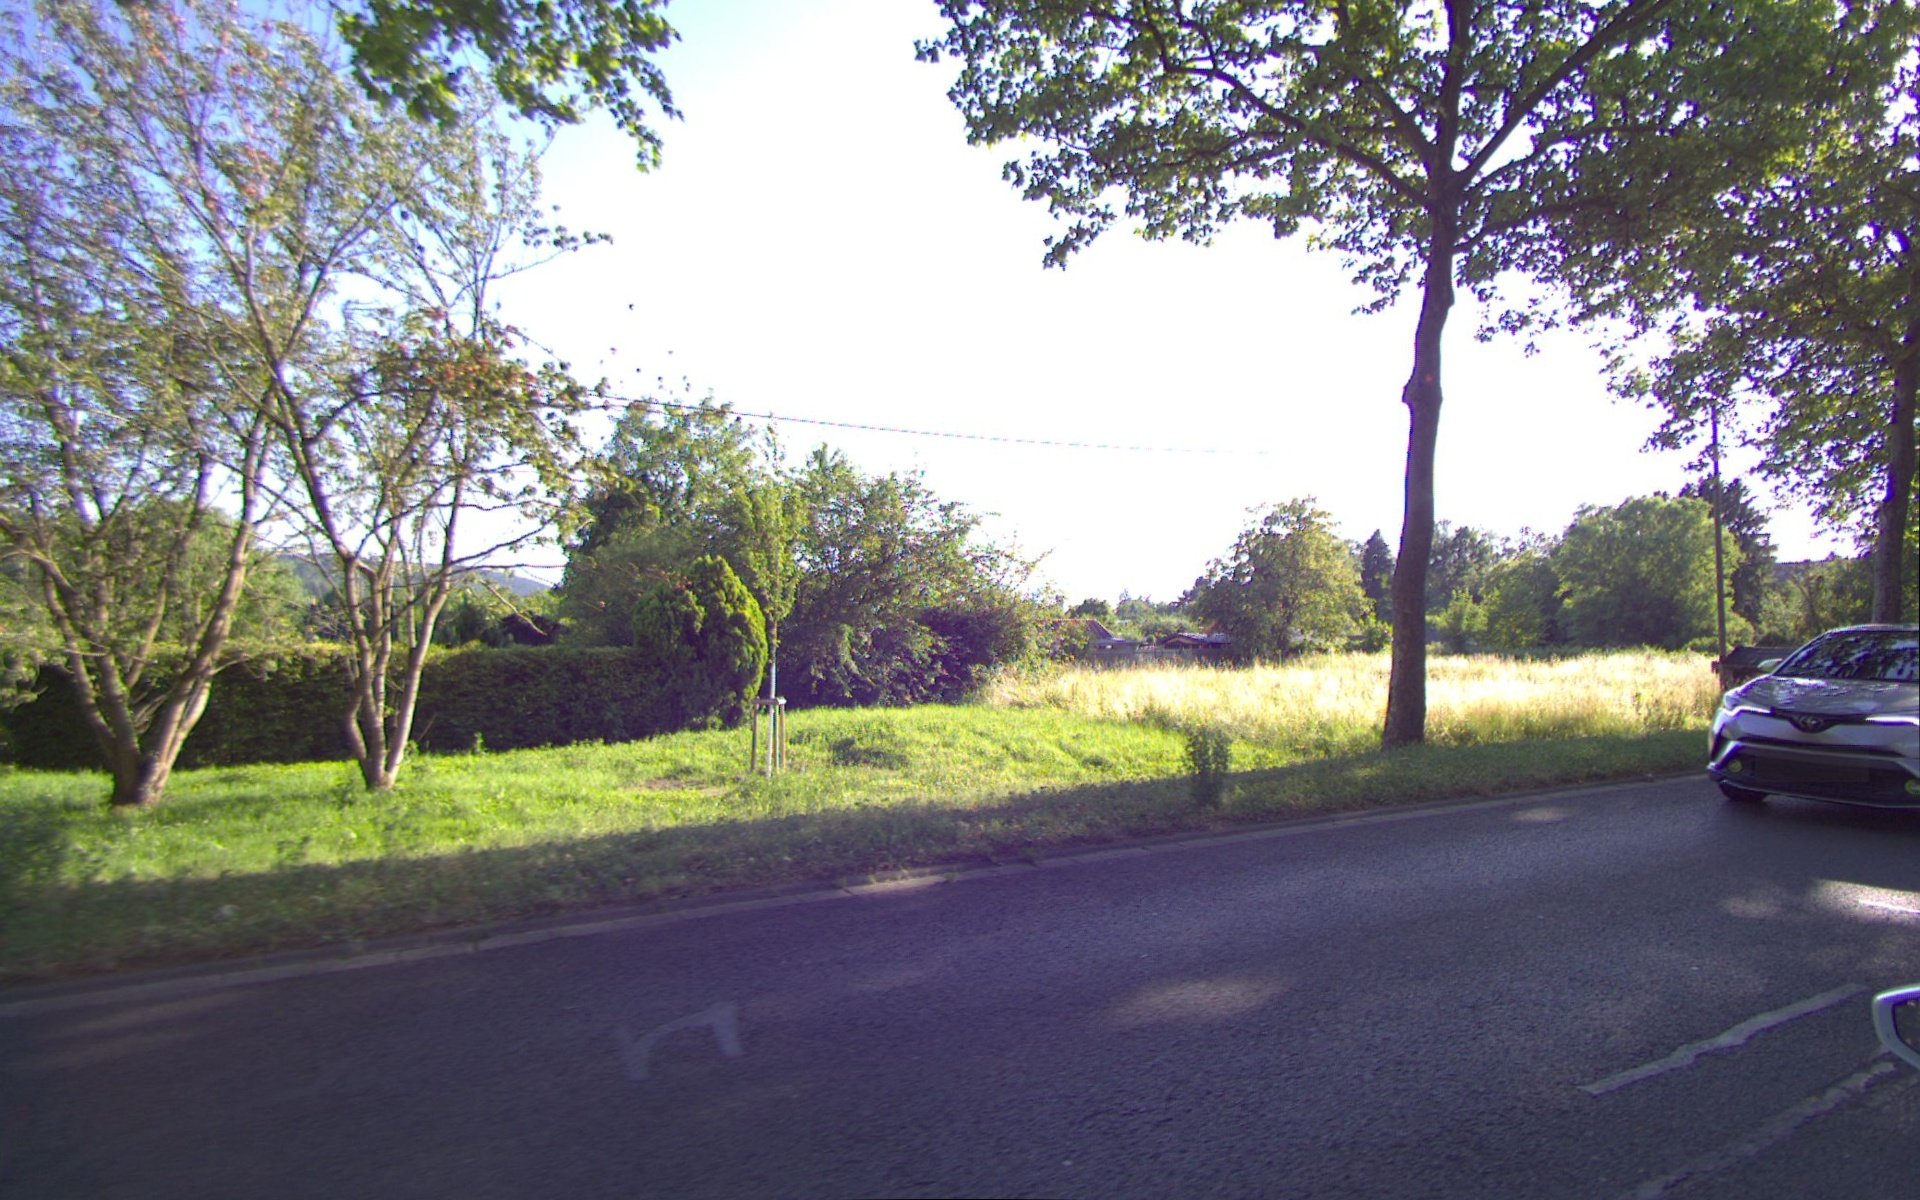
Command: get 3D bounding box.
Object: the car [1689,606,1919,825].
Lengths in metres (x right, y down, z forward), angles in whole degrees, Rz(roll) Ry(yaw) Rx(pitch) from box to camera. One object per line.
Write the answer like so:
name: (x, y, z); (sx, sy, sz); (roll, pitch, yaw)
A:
car: (8.145, 0.878, 8.530); (3.953, 1.525, 1.707); (2, -1, -30)
